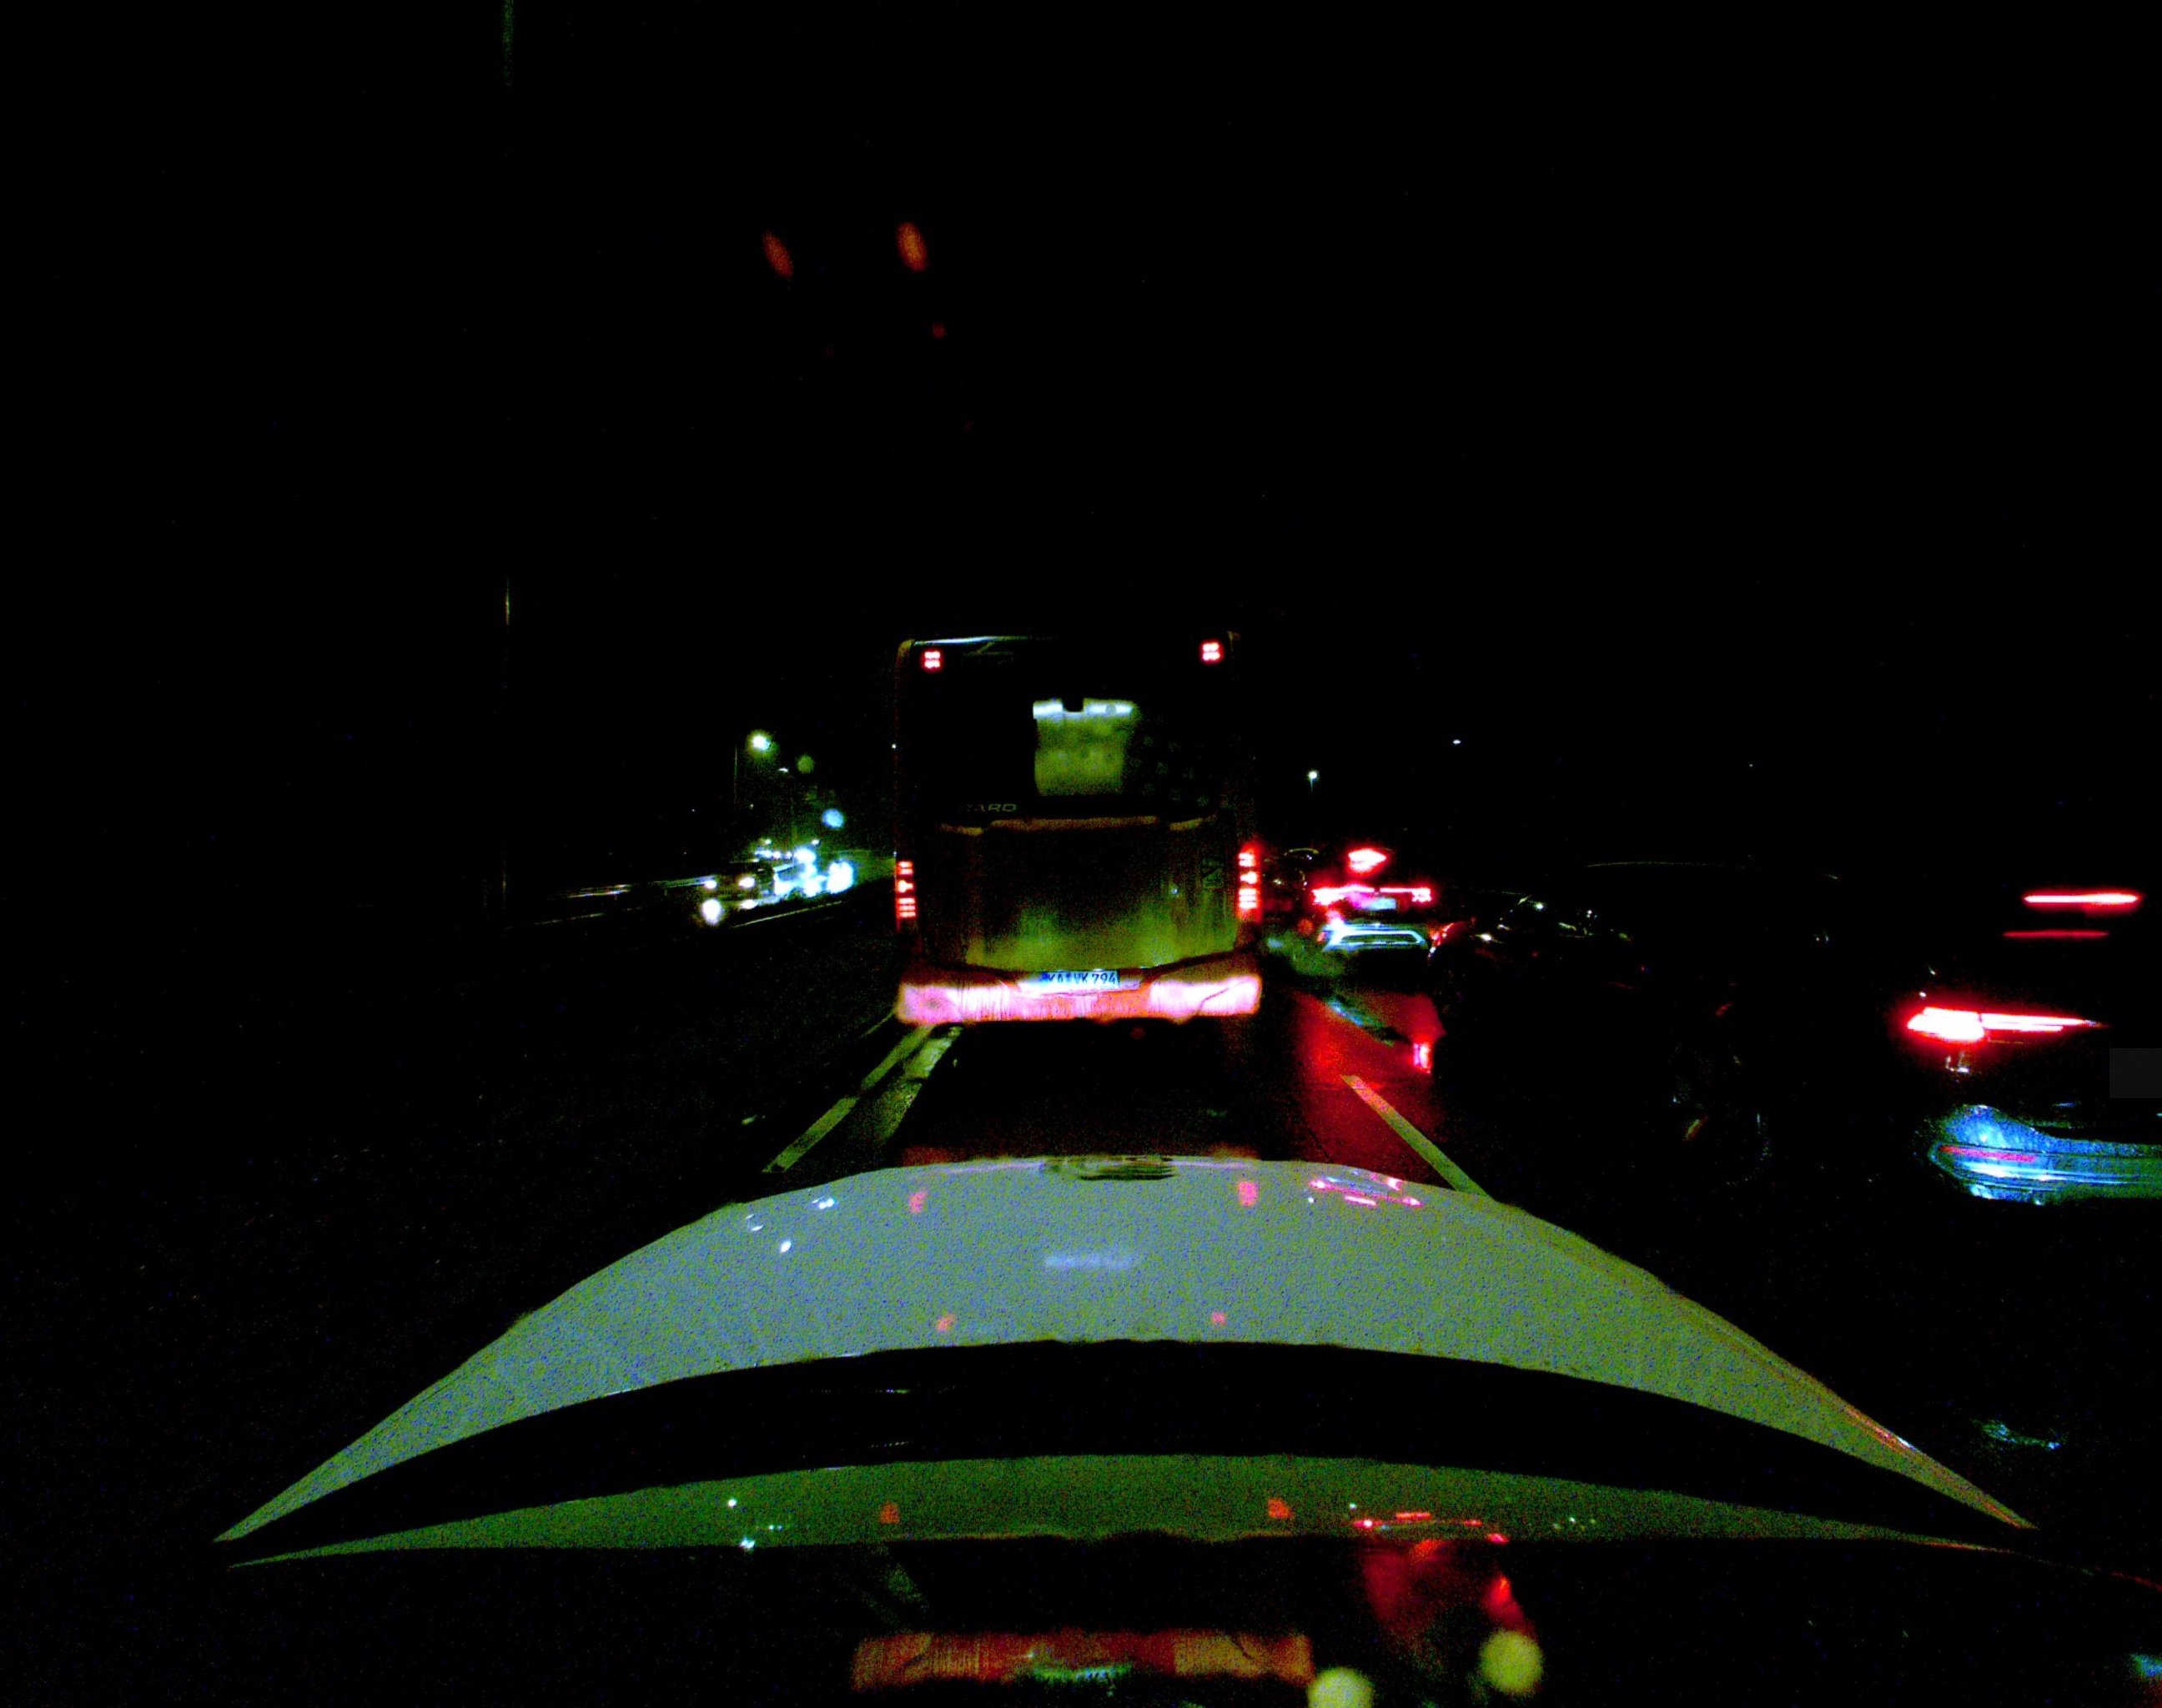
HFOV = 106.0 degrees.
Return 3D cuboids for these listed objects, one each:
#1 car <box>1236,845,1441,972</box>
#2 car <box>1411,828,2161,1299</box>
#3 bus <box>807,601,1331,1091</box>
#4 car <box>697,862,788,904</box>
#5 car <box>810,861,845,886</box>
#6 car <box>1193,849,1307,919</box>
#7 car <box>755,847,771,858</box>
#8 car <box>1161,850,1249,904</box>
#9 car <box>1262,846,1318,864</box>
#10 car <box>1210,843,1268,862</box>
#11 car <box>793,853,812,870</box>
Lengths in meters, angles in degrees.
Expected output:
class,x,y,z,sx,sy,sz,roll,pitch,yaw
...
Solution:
class,x,y,z,sx,sy,sz,roll,pitch,yaw
car,3.476,0.669,11.778,1.672,1.521,3.959,0,0,-1
car,3.684,0.705,4.910,1.666,1.506,4.561,1,-1,2
bus,-0.044,-0.160,10.006,3.274,3.050,9.544,-2,1,0
car,-13.608,1.127,33.067,1.991,1.508,4.830,-2,0,-5
car,-15.892,1.192,51.180,1.713,1.423,4.646,-2,0,-13
car,3.583,0.592,17.927,1.680,1.330,3.960,-2,0,1
car,-44.446,-0.192,113.737,1.750,1.502,3.965,0,-1,-27
car,3.544,0.623,23.992,1.987,1.441,3.999,0,0,0
car,16.622,0.054,64.822,4.037,1.345,1.744,0,2,-6
car,13.308,-0.139,68.533,4.477,1.519,1.853,0,2,-6
car,-28.745,0.766,84.044,1.771,1.631,4.222,-1,0,-19
